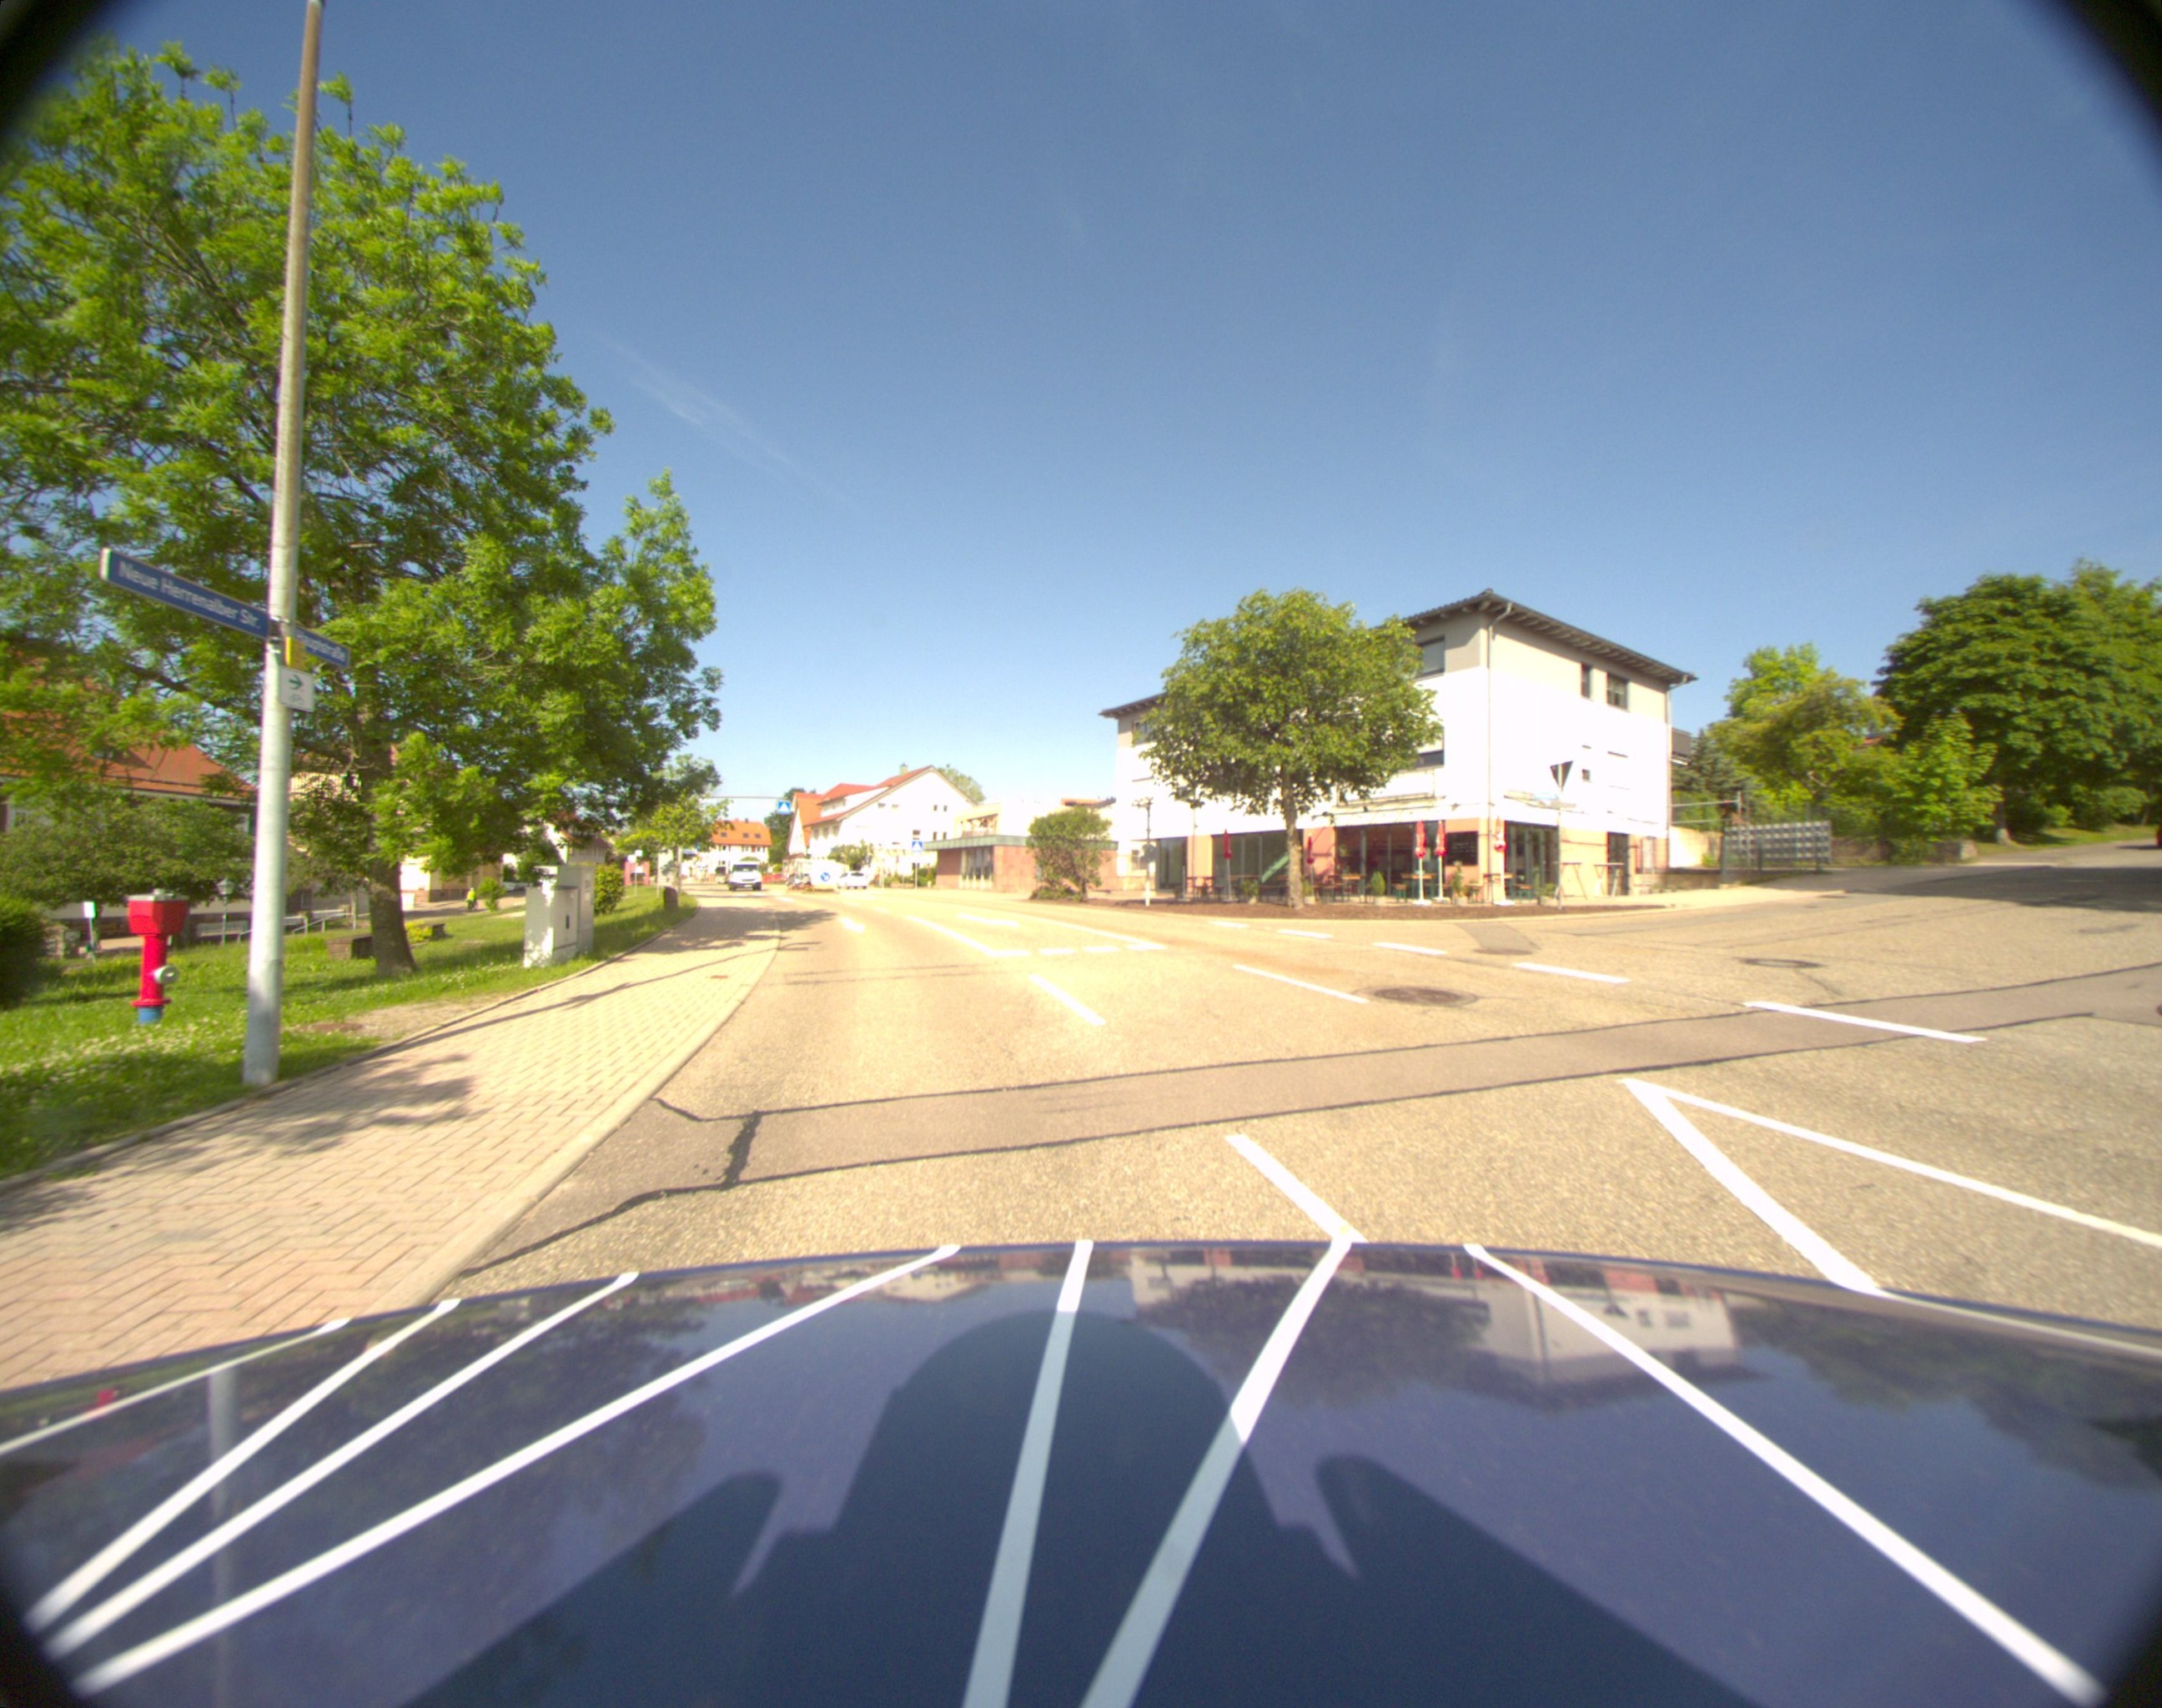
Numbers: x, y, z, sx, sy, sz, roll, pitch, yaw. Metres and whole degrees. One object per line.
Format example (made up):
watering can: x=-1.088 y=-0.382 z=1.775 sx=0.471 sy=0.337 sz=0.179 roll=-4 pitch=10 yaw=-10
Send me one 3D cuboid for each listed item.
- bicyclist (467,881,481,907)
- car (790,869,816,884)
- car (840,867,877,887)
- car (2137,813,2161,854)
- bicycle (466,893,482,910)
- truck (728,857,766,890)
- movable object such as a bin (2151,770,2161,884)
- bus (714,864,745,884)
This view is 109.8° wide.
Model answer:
bicyclist: x=-46.176 y=3.033 z=57.794 sx=0.583 sy=1.914 sz=0.995 roll=-3 pitch=1 yaw=-27
car: x=-28.568 y=2.337 z=78.070 sx=1.779 sy=1.425 sz=3.705 roll=-3 pitch=0 yaw=-30
car: x=-18.344 y=1.875 z=62.650 sx=1.779 sy=1.459 sz=3.704 roll=-3 pitch=1 yaw=-35
car: x=42.554 y=-0.855 z=29.026 sx=3.814 sy=1.489 sz=1.622 roll=-3 pitch=1 yaw=-21
bicycle: x=-46.153 y=3.576 z=57.792 sx=0.539 sy=1.183 sz=1.724 roll=-3 pitch=1 yaw=-27
truck: x=-25.670 y=1.432 z=58.239 sx=2.003 sy=2.328 sz=6.479 roll=0 pitch=0 yaw=-30
movable object such as a bin: x=28.677 y=-0.742 z=18.356 sx=5.109 sy=2.753 sz=1.997 roll=-2 pitch=1 yaw=-20
bus: x=-57.100 y=3.334 z=123.245 sx=2.722 sy=2.995 sz=15.190 roll=-1 pitch=-2 yaw=-32
